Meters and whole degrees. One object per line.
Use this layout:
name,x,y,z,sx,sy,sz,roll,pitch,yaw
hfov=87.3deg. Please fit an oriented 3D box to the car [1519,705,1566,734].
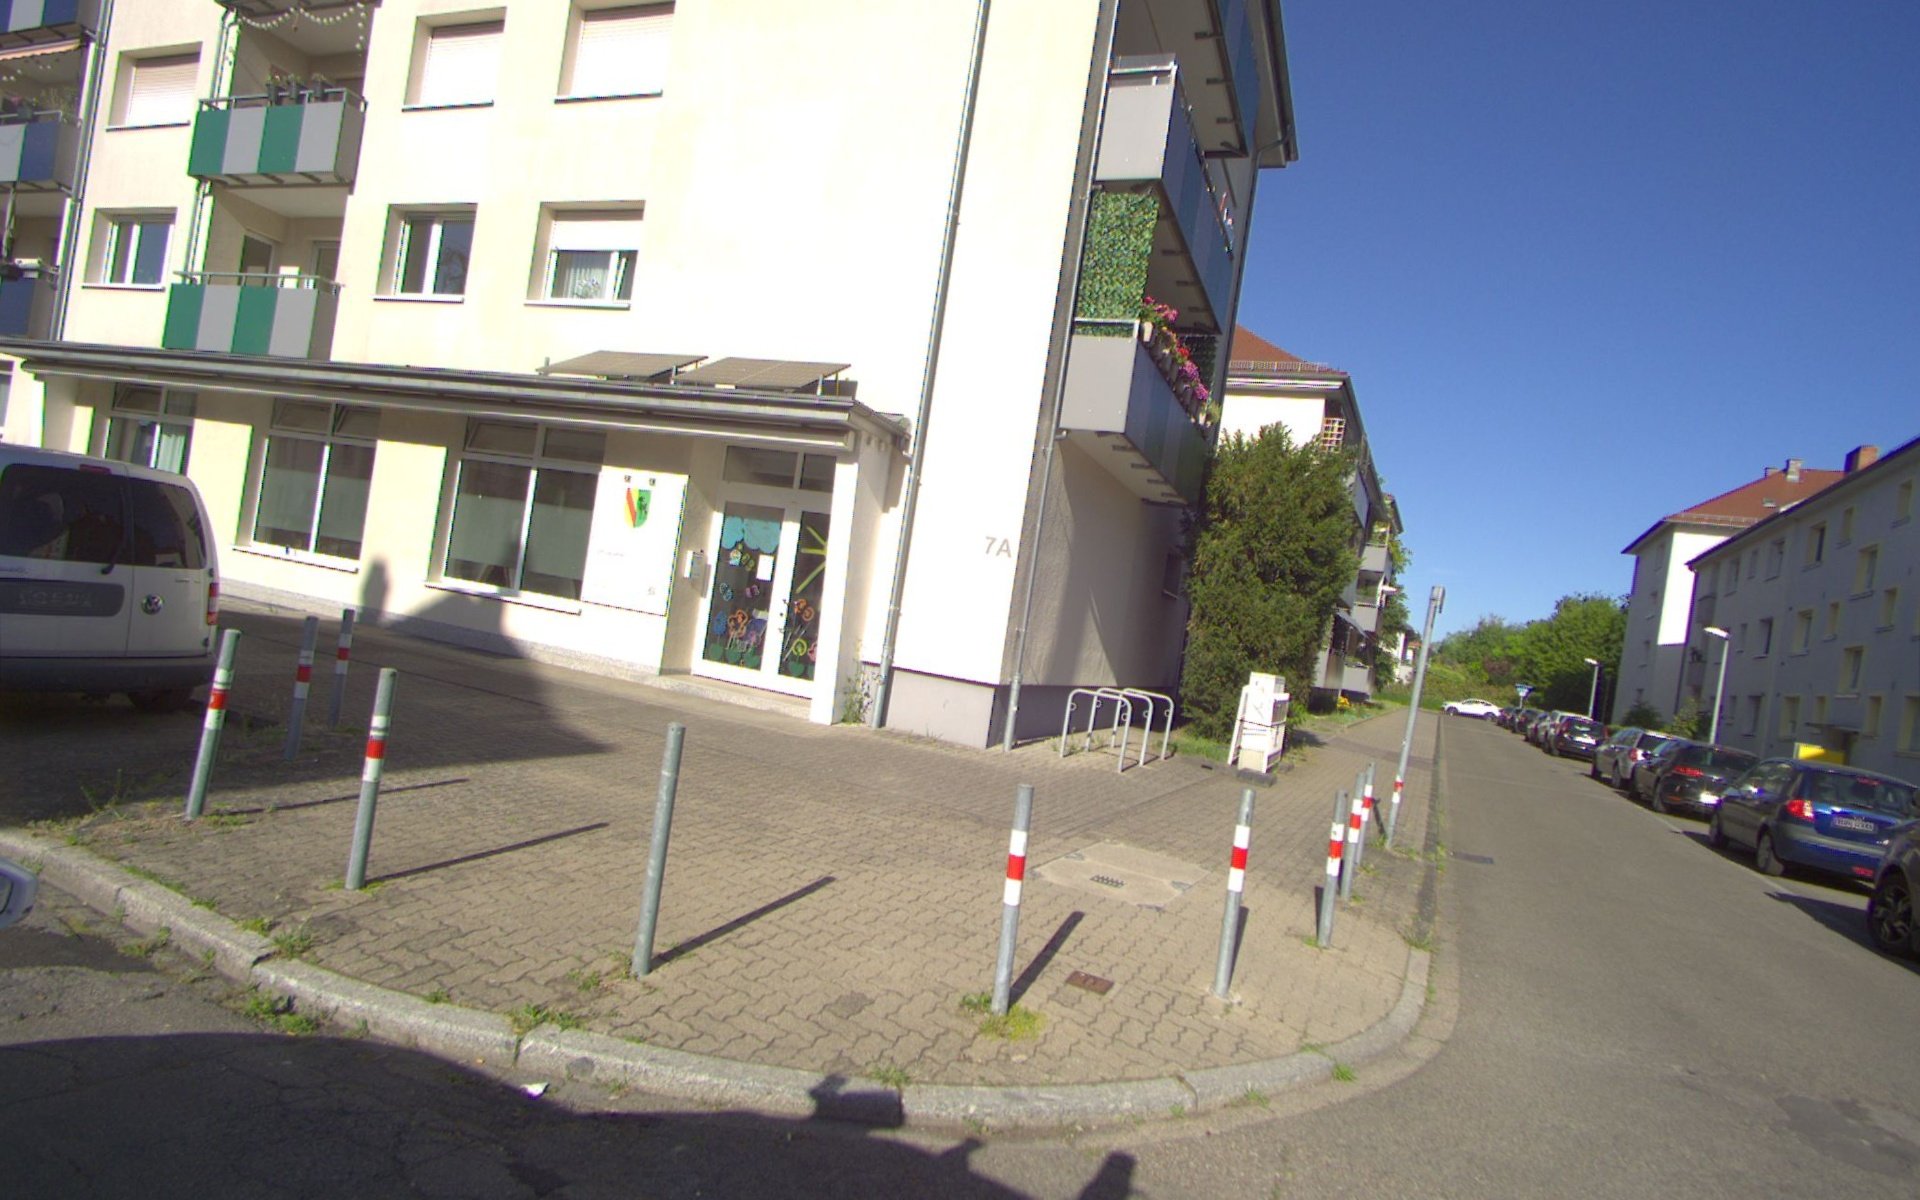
car,45.280,9.275,78.253,2.889,1.649,1.391,9,2,25

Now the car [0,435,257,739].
car,-7.443,-0.323,7.357,4.055,1.848,1.751,8,2,22

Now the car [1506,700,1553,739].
car,31.621,6.580,55.961,1.709,1.714,4.242,11,0,26

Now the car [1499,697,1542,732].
car,34.233,6.955,61.534,1.709,1.714,4.242,11,0,26

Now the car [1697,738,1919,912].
car,11.106,2.789,13.077,1.650,1.548,3.484,9,-1,26

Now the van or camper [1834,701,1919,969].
van or camper,7.926,1.870,6.254,1.964,2.037,5.141,11,0,23

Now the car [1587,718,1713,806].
car,16.459,3.808,24.197,1.650,1.472,4.079,11,0,26

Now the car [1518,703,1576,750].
car,26.000,5.568,44.670,1.650,1.592,4.242,11,0,26

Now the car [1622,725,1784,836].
car,14.165,3.370,19.383,1.650,1.472,3.484,11,0,26

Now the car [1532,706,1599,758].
car,23.962,5.189,39.947,1.650,1.592,4.079,11,0,26

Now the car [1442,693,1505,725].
car,41.233,8.751,80.865,4.226,1.694,1.997,9,1,27

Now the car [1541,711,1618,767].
car,21.899,4.875,35.708,1.650,1.472,4.079,11,0,26
